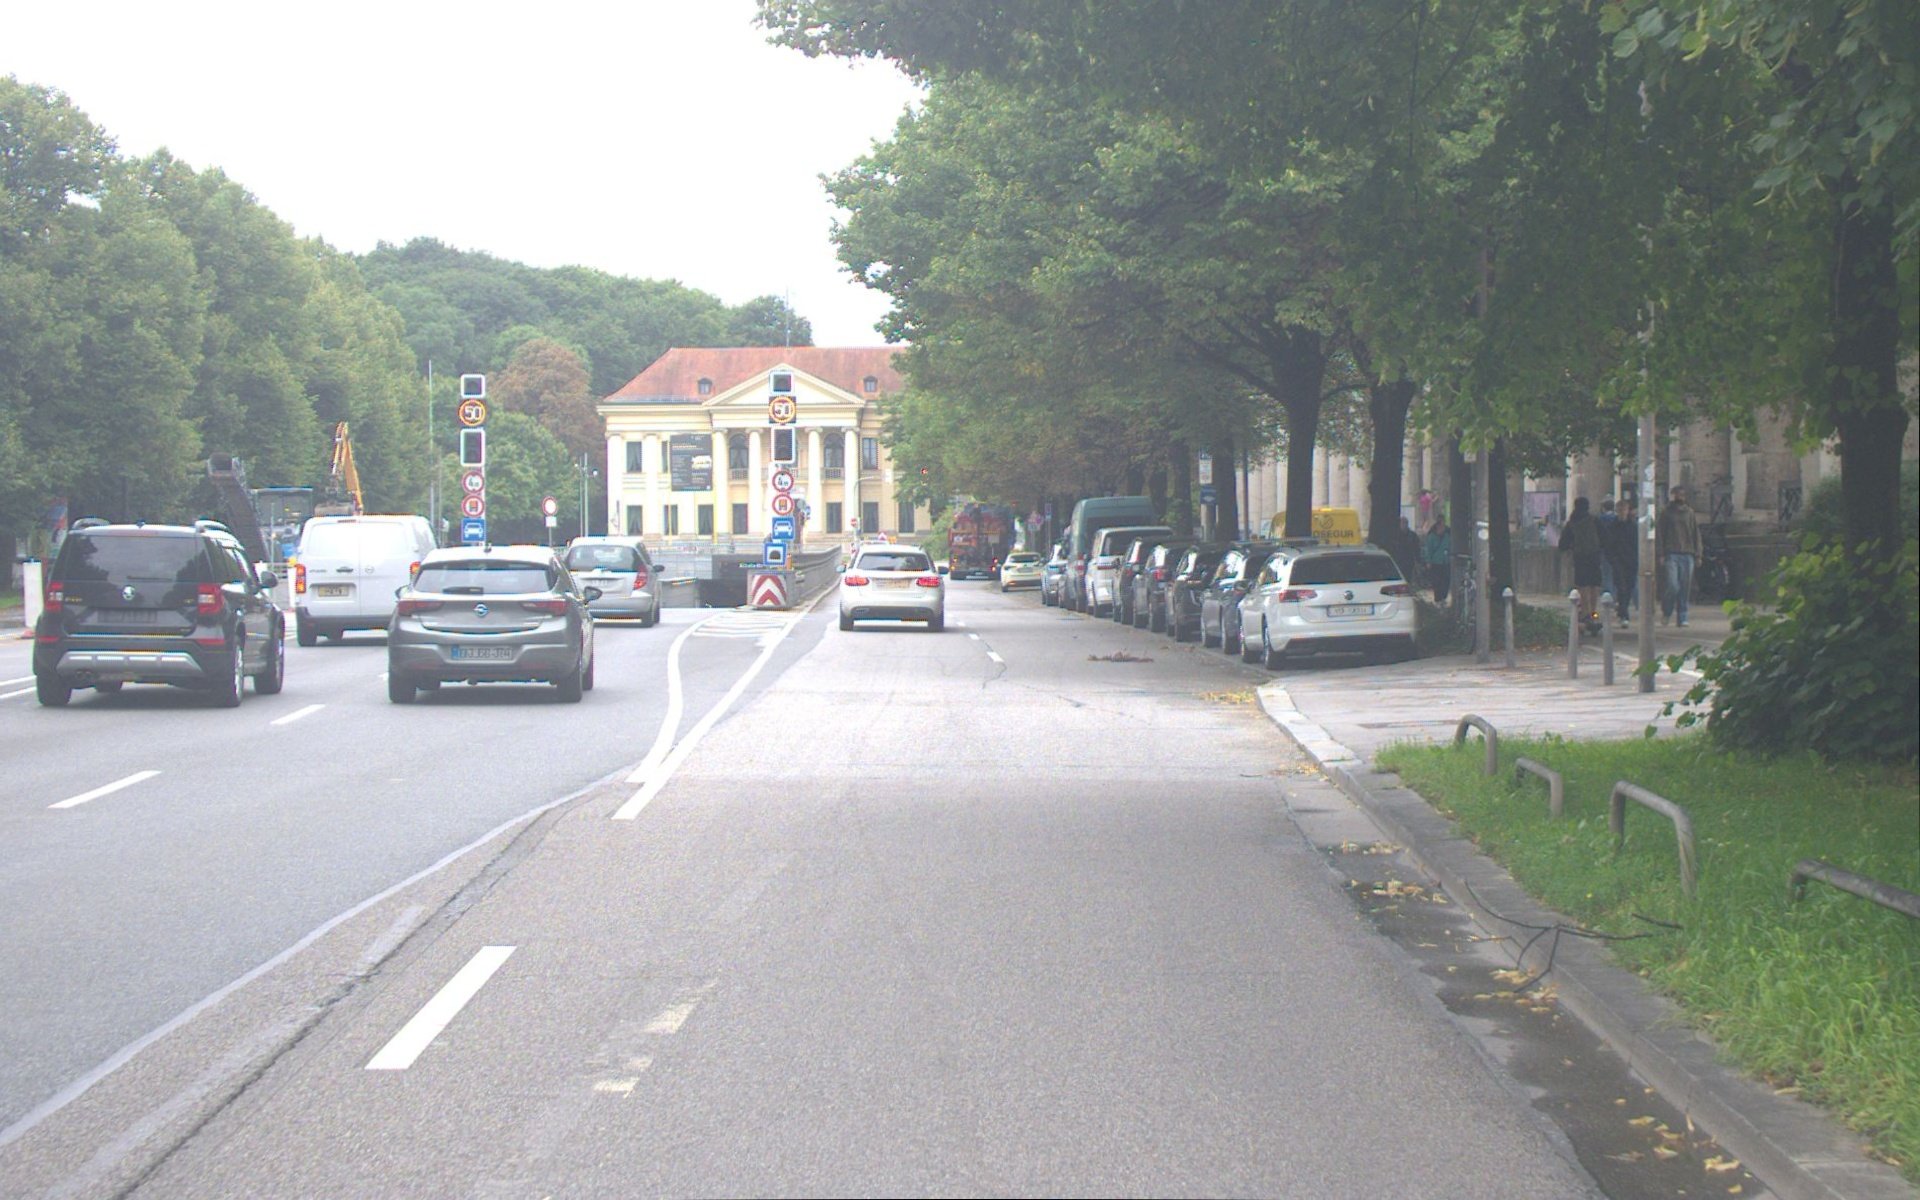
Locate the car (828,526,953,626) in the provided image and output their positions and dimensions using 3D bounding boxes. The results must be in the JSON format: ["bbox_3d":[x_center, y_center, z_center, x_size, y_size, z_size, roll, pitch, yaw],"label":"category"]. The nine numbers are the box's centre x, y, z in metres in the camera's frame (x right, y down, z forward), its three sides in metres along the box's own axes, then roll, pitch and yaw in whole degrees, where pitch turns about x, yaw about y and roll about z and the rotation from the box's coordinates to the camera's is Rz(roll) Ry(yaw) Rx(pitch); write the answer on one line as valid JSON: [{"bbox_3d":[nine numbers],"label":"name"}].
[{"bbox_3d":[-1.241,-0.437,59.548,1.779,1.639,4.001,1,1,-6],"label":"car"}]

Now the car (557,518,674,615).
[{"bbox_3d":[-6.109,-0.619,61.292,1.779,1.648,4.000,1,1,-2],"label":"car"}]

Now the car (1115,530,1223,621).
[{"bbox_3d":[3.976,-0.497,66.043,1.724,1.659,4.590,-1,1,0],"label":"car"}]

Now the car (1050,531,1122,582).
[{"bbox_3d":[3.386,-1.191,92.896,1.724,1.319,4.028,-1,1,0],"label":"car"}]

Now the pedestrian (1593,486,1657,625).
[{"bbox_3d":[9.259,-0.621,47.880,0.699,1.903,0.771,1,1,0],"label":"pedestrian"}]

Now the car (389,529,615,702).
[{"bbox_3d":[-4.358,0.104,33.217,1.710,1.546,4.000,1,1,-1],"label":"car"}]

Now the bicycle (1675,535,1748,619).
[{"bbox_3d":[13.015,-0.409,59.595,0.699,1.410,2.299,-1,1,-1],"label":"bicycle"}]

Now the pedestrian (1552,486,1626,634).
[{"bbox_3d":[8.198,-0.521,44.826,0.779,1.903,0.771,1,1,0],"label":"pedestrian"}]

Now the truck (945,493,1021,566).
[{"bbox_3d":[1.052,-3.353,164.435,3.325,3.355,8.663,1,1,-1],"label":"truck"}]

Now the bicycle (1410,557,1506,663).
[{"bbox_3d":[6.036,0.101,41.784,0.628,1.227,2.619,1,1,-3],"label":"bicycle"}]

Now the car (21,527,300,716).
[{"bbox_3d":[-7.371,0.160,32.069,1.722,1.631,4.205,0,1,-2],"label":"car"}]

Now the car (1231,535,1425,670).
[{"bbox_3d":[4.471,-0.006,42.364,1.827,1.544,4.752,-1,1,0],"label":"car"}]

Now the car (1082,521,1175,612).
[{"bbox_3d":[3.561,-0.719,73.301,1.724,1.861,4.028,-1,1,0],"label":"car"}]

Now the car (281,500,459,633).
[{"bbox_3d":[-8.623,-0.498,50.661,1.898,1.841,4.956,0,1,-2],"label":"car"}]

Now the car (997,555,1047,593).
[{"bbox_3d":[2.274,-0.970,127.154,1.724,1.319,4.028,-1,1,0],"label":"car"}]

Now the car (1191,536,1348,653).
[{"bbox_3d":[4.296,-0.112,48.254,1.724,1.544,4.586,-1,1,0],"label":"car"}]

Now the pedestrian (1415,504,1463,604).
[{"bbox_3d":[9.196,-0.892,66.072,0.779,1.903,0.771,1,1,0],"label":"pedestrian"}]

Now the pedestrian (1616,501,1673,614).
[{"bbox_3d":[11.645,-0.721,58.516,0.779,1.903,0.771,1,1,0],"label":"pedestrian"}]

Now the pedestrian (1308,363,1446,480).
[{"bbox_3d":[7.773,-3.309,64.383,1.993,2.007,4.000,1,1,-1],"label":"pedestrian"}]

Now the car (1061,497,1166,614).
[{"bbox_3d":[3.557,-1.053,80.481,1.993,2.634,4.878,1,1,-3],"label":"car"}]

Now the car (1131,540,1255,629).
[{"bbox_3d":[4.020,-0.291,59.819,1.822,1.459,4.028,-1,1,0],"label":"car"}]

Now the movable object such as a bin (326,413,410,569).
[{"bbox_3d":[-25.272,-4.613,147.009,2.699,6.488,5.176,1,1,-1],"label":"movable object such as a bin"}]

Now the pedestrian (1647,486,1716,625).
[{"bbox_3d":[10.027,-0.623,47.807,0.764,1.903,0.771,1,1,0],"label":"pedestrian"}]
